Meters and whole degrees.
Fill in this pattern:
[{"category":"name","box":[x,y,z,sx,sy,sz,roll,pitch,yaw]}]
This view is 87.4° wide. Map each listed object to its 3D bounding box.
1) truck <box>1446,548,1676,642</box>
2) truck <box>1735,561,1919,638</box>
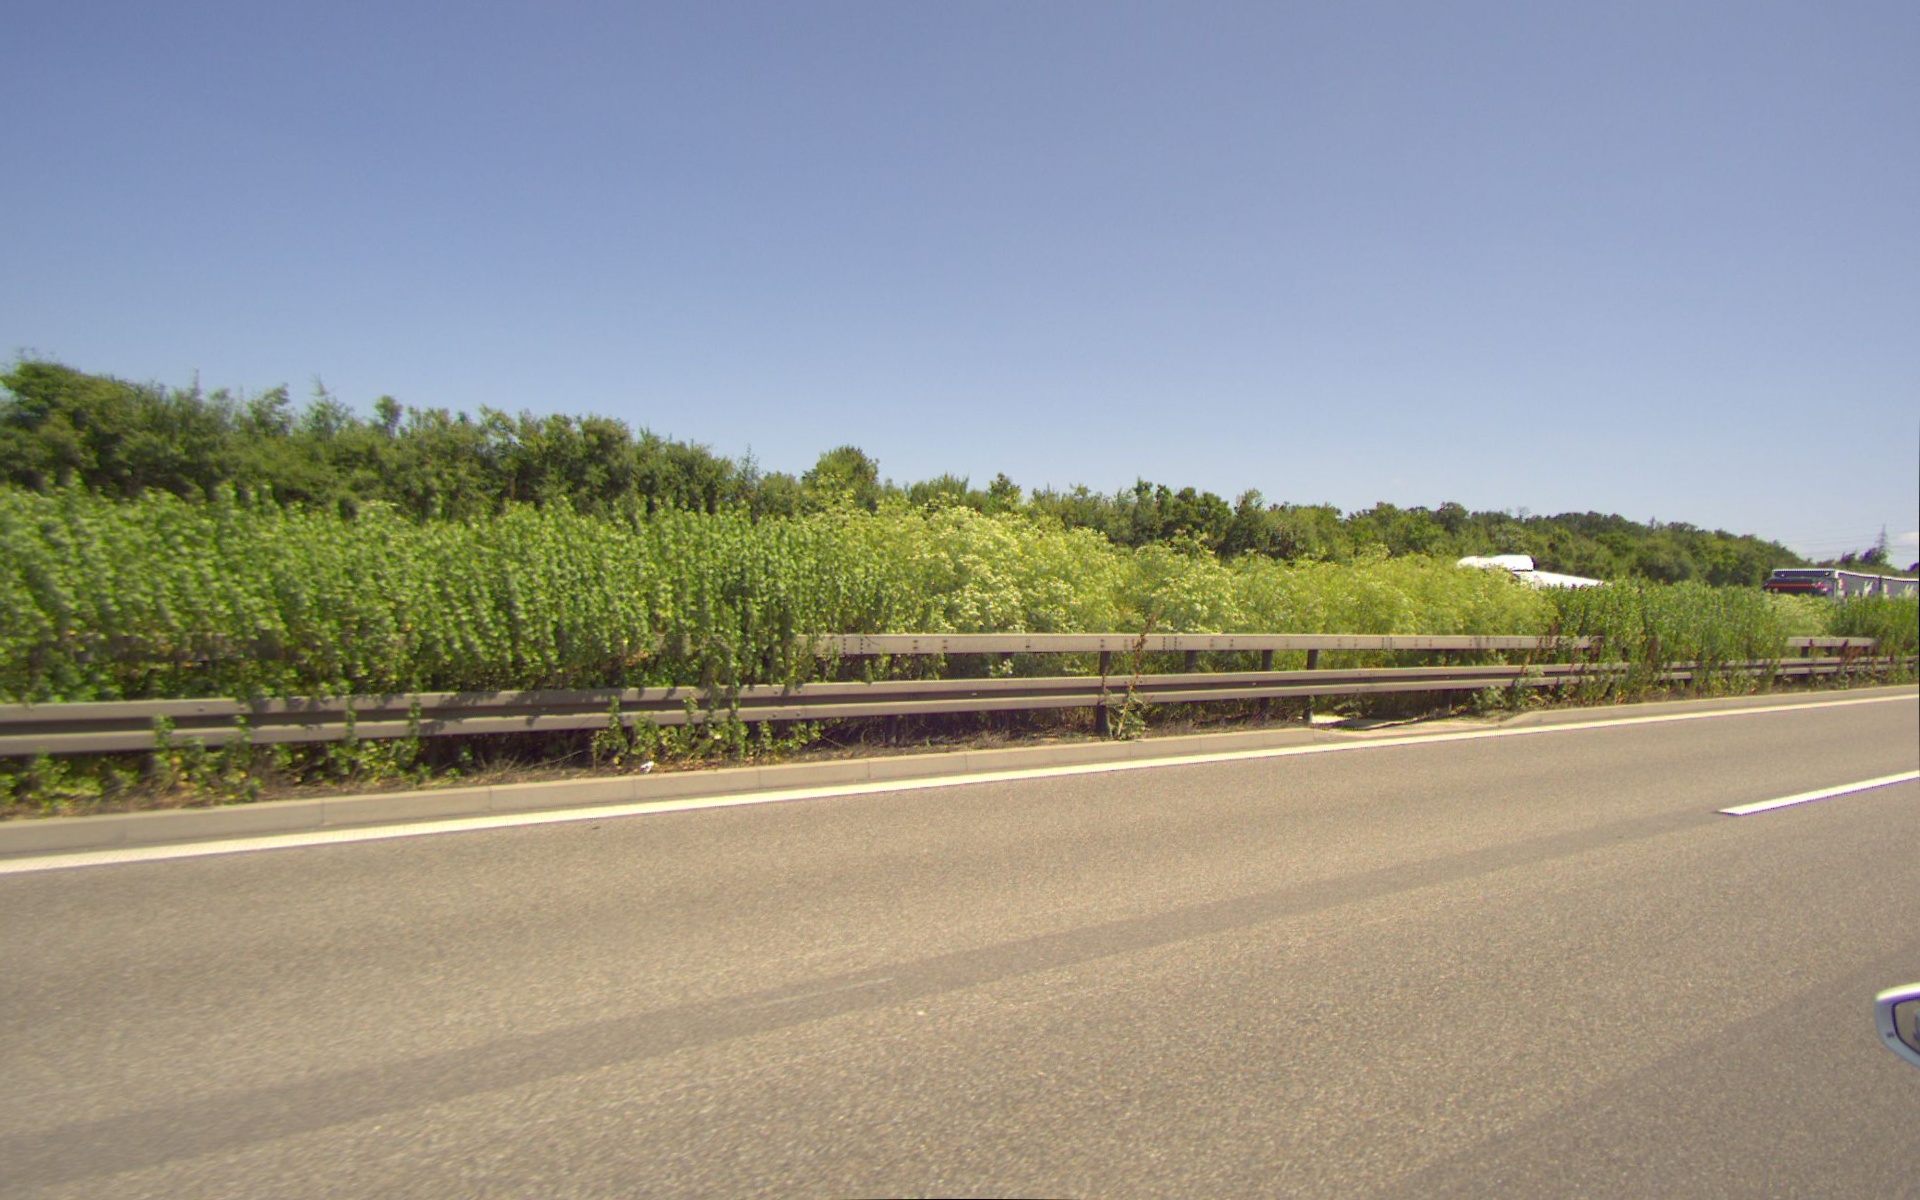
[{"category":"truck","box":[25.846,-0.084,42.624,14.533,3.502,2.444,1,0,-34]},{"category":"truck","box":[47.785,0.065,54.808,18.343,3.660,3.208,1,3,-35]}]
